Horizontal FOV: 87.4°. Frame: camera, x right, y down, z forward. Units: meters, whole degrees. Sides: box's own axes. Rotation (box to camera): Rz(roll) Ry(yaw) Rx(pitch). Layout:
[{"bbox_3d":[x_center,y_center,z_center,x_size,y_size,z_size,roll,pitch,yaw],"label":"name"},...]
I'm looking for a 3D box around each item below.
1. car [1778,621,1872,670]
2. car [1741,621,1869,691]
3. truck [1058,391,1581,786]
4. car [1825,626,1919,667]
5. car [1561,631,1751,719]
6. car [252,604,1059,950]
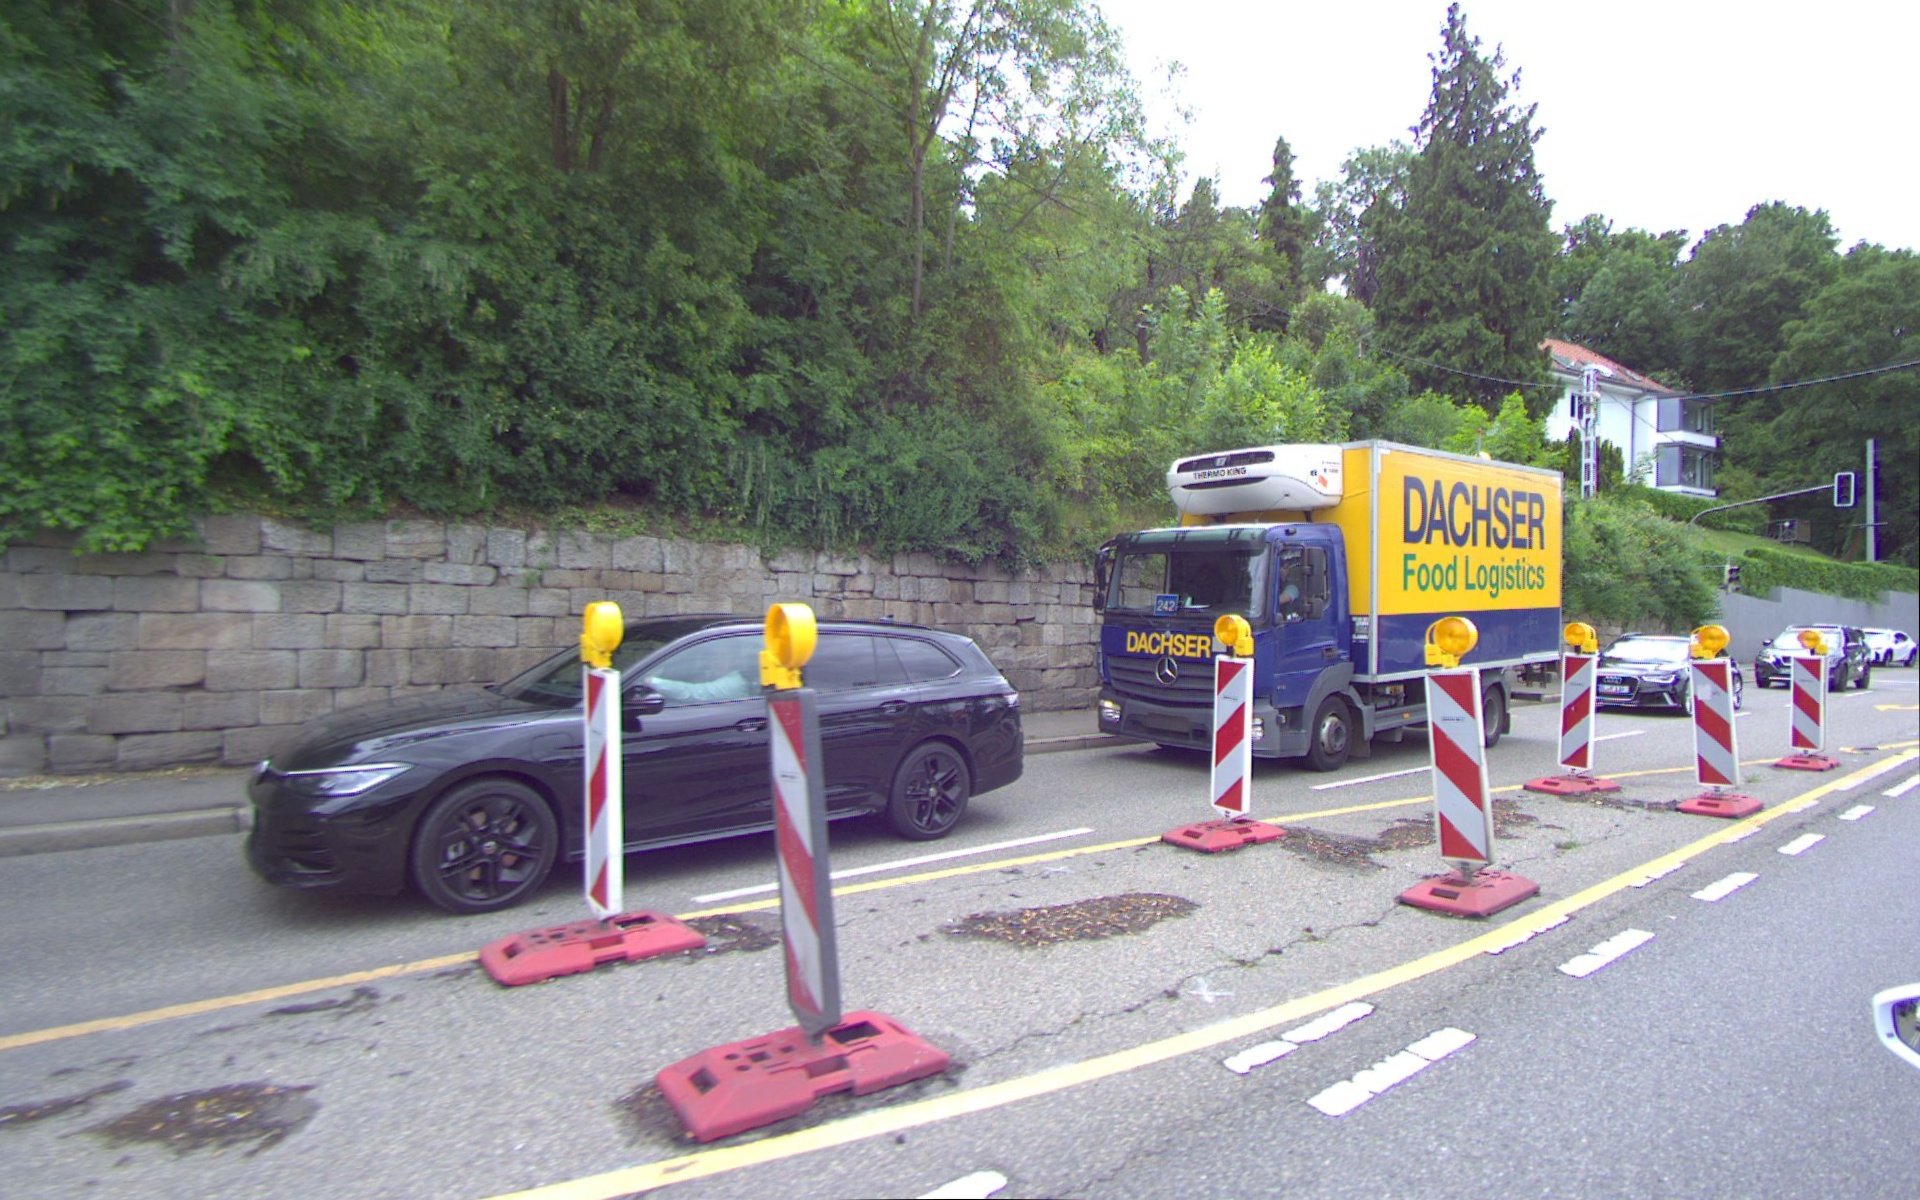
[{"bbox_3d":[34.358,1.776,39.841,4.718,1.754,1.845,2,1,-37],"label":"car"},{"bbox_3d":[22.993,1.479,27.270,4.632,1.719,1.868,2,-1,-40],"label":"car"},{"bbox_3d":[4.769,0.011,12.407,7.288,3.556,2.709,2,-2,-39],"label":"truck"},{"bbox_3d":[39.093,1.987,42.963,4.423,1.593,1.824,2,0,-30],"label":"car"},{"bbox_3d":[13.557,1.359,19.456,4.834,1.449,1.795,2,-1,-40],"label":"car"},{"bbox_3d":[-1.648,0.840,6.536,4.707,1.461,1.756,2,0,-40],"label":"car"}]
